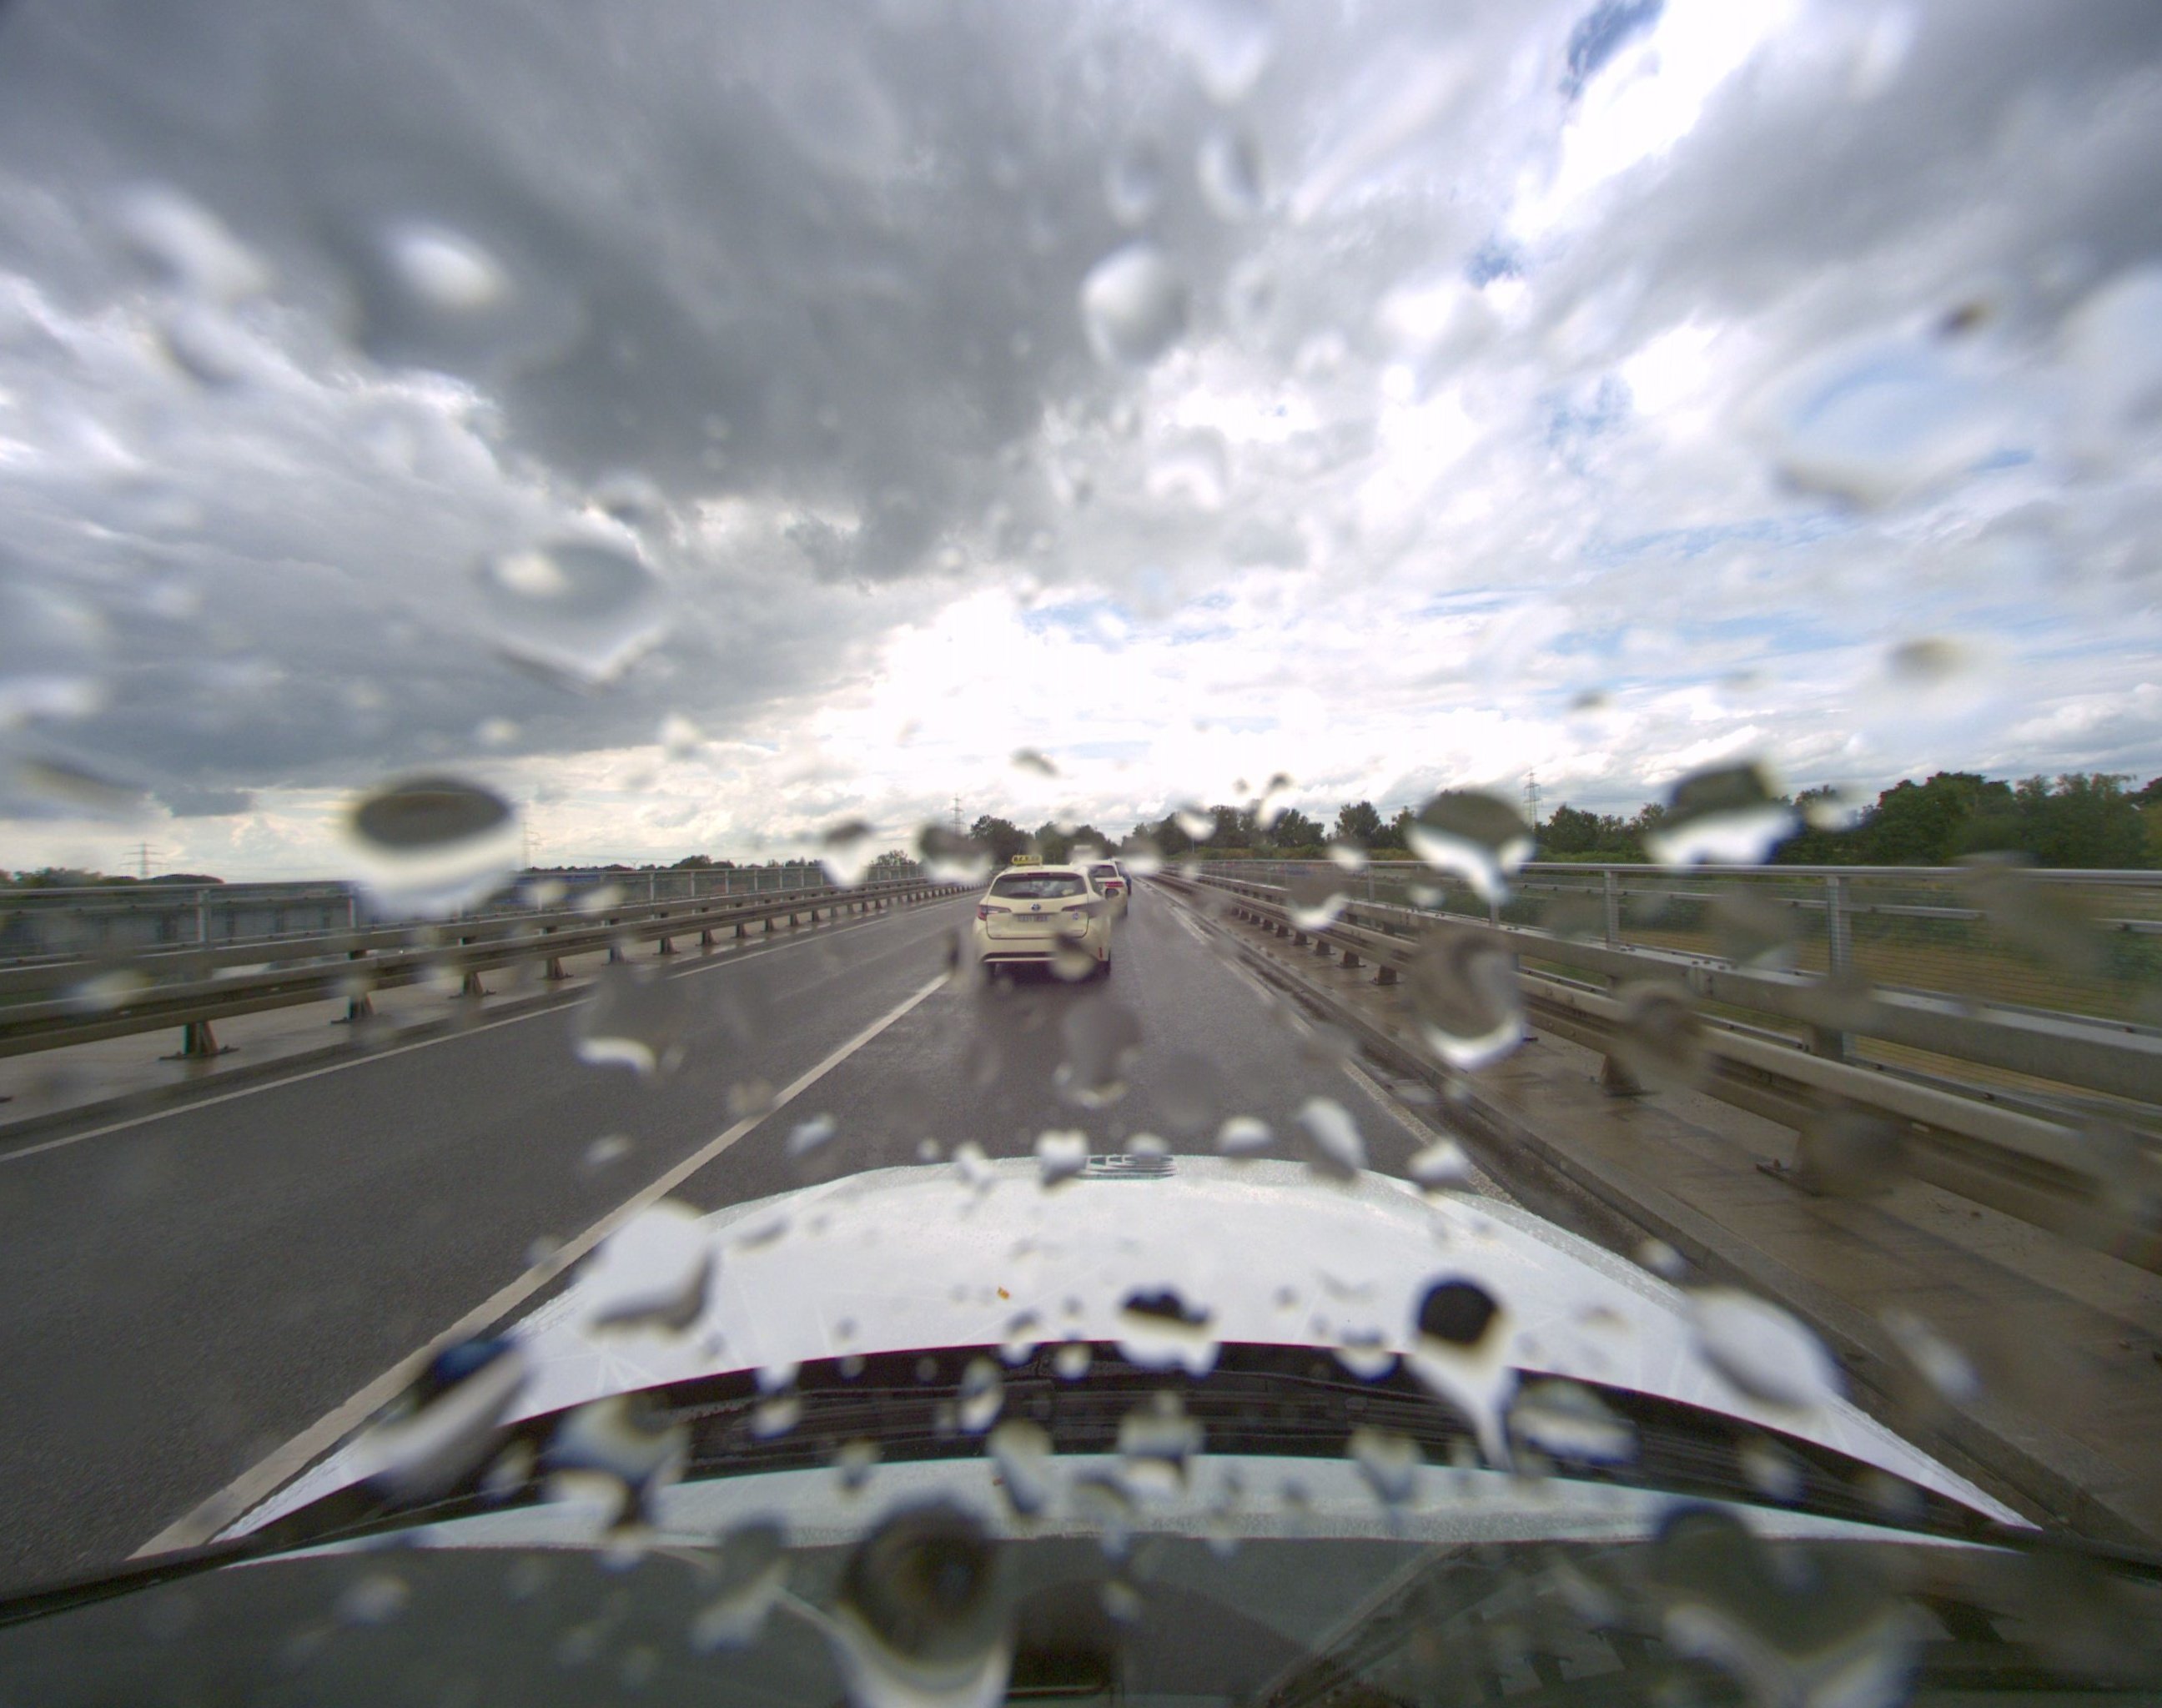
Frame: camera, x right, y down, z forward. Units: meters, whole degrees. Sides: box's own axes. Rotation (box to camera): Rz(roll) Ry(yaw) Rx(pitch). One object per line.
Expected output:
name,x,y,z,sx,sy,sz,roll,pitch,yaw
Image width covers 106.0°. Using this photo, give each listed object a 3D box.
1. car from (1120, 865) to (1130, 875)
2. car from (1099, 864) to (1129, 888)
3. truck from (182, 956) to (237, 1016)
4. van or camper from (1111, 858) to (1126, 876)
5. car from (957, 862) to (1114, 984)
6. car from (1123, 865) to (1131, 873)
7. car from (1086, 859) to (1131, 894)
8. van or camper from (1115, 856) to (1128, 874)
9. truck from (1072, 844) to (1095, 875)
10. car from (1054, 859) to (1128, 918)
car,9.730,3.509,180.590,1.986,2.014,4.001,0,-1,1
car,2.129,1.395,52.741,1.847,1.443,4.173,0,0,2
truck,-79.134,11.819,74.099,2.450,4.001,11.035,0,-1,-42
van or camper,6.159,2.108,134.492,2.323,2.864,6.309,0,-1,2
car,-0.458,0.833,11.700,1.847,1.394,4.173,0,0,2
car,11.679,3.695,207.204,1.986,2.014,4.001,0,-1,1
car,1.237,0.947,35.726,1.847,1.443,4.173,0,0,2
van or camper,7.777,2.111,157.663,2.323,3.563,6.309,0,-1,2
truck,0.436,0.707,109.950,2.672,4.017,10.060,-1,0,3
car,0.332,0.874,22.397,1.847,1.443,4.173,0,0,2
